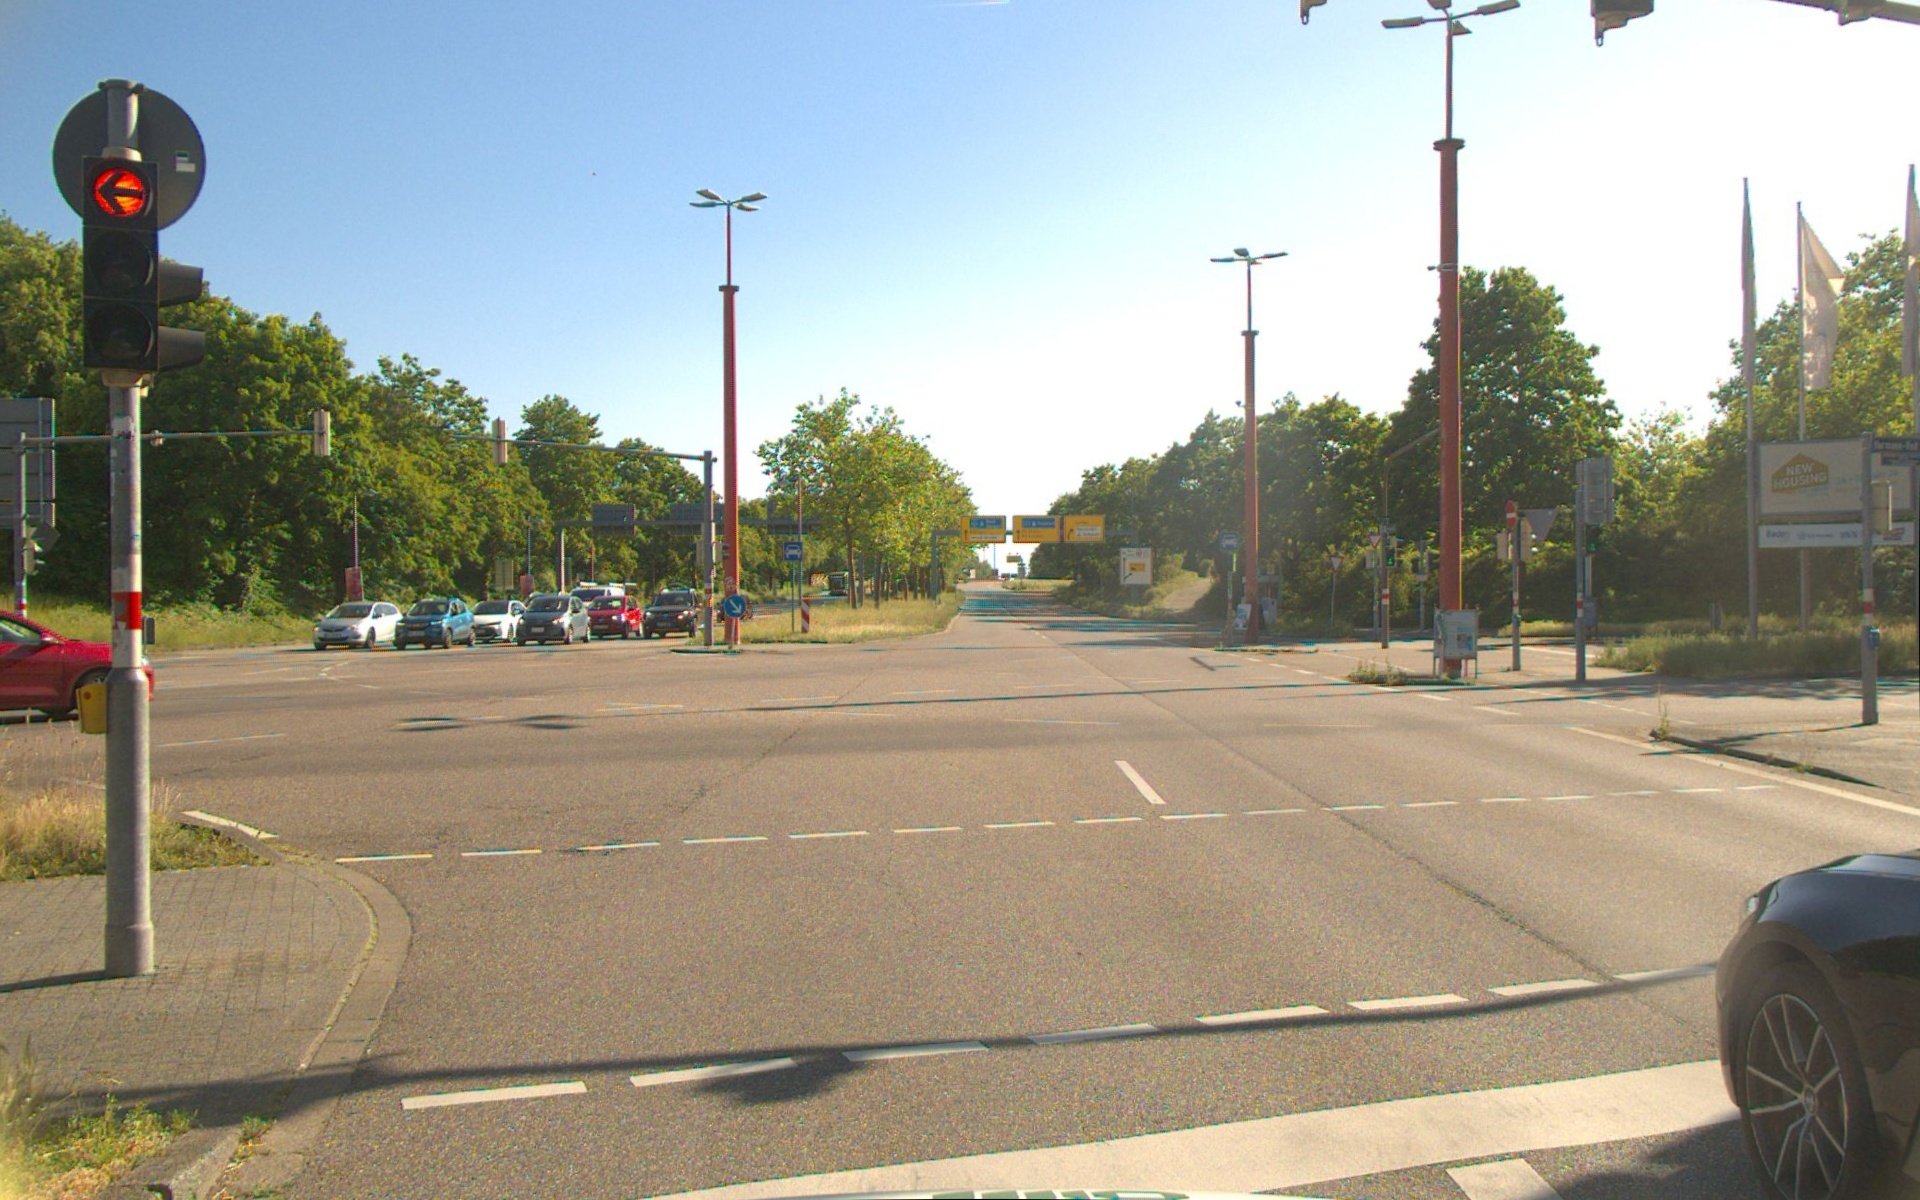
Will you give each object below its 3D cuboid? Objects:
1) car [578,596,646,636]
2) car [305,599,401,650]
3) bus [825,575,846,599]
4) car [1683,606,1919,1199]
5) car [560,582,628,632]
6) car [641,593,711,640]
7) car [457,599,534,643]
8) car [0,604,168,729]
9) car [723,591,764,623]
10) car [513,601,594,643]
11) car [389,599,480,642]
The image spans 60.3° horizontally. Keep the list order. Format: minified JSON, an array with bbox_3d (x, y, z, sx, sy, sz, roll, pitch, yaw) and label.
[{"bbox_3d":[-12.289,0.546,58.588,1.704,1.386,3.611,0,0,-2],"label":"car"},{"bbox_3d":[-19.470,0.760,53.247,1.725,1.559,3.934,0,0,-2],"label":"car"},{"bbox_3d":[-17.748,-1.861,236.023,2.441,3.295,9.998,0,0,-1],"label":"bus"},{"bbox_3d":[2.914,0.733,2.369,1.831,1.422,4.443,0,0,0],"label":"car"},{"bbox_3d":[-15.557,0.278,70.546,1.855,2.061,5.221,0,0,-2],"label":"car"},{"bbox_3d":[-9.782,0.538,57.157,1.782,1.534,3.999,0,0,-1],"label":"car"},{"bbox_3d":[-15.925,0.696,56.801,1.704,1.436,3.611,0,0,-2],"label":"car"},{"bbox_3d":[-12.043,0.798,20.122,1.656,1.460,4.039,0,0,43],"label":"car"},{"bbox_3d":[-11.659,0.350,89.261,1.782,1.657,3.999,0,0,-1],"label":"car"},{"bbox_3d":[-12.667,0.665,51.705,1.704,1.265,3.611,0,0,-2],"label":"car"},{"bbox_3d":[-16.049,0.607,50.684,1.704,1.265,3.611,0,0,-2],"label":"car"}]
